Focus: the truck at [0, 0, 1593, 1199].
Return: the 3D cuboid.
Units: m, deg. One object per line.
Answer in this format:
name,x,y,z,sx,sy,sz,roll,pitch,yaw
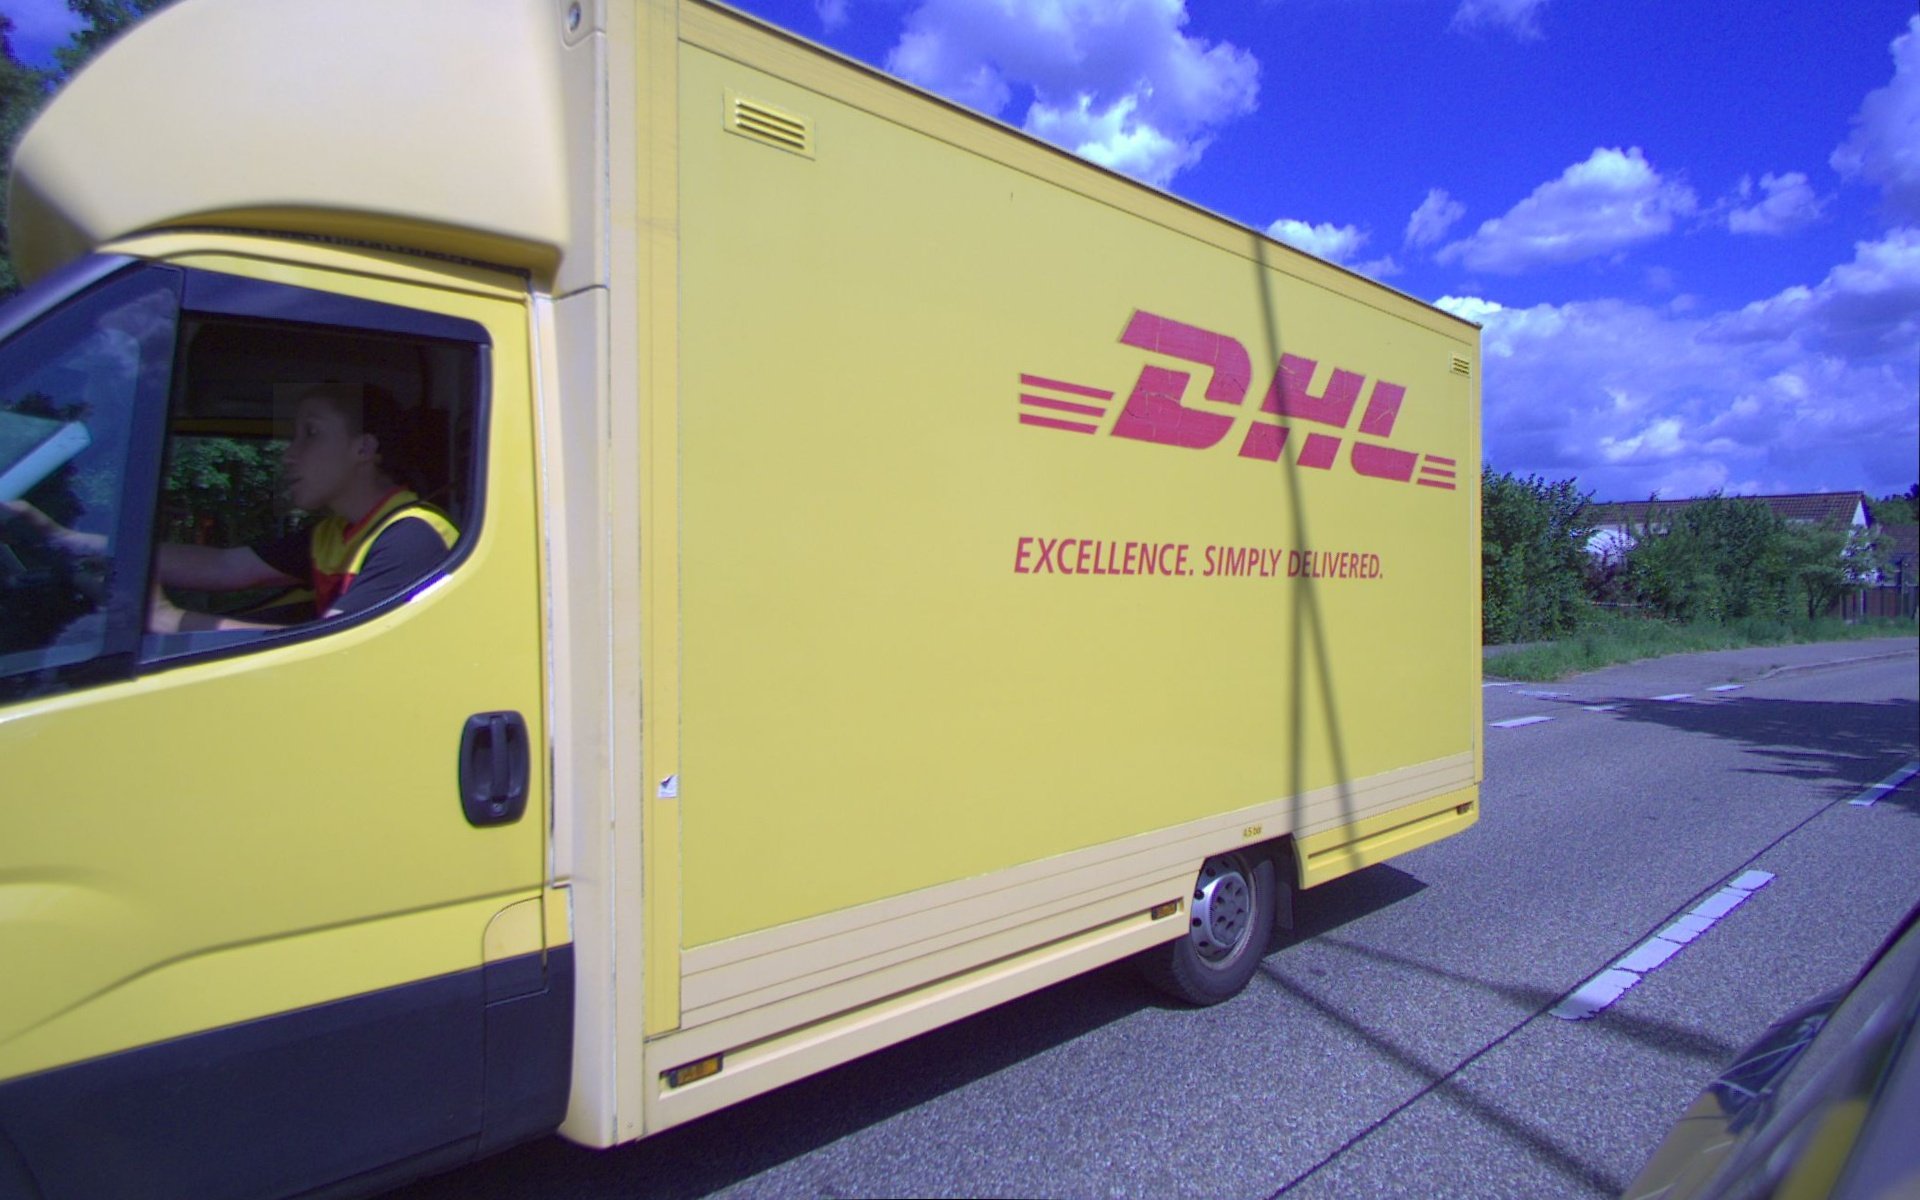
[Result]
truck,0.045,-0.038,4.249,7.887,2.917,2.268,0,0,-41
